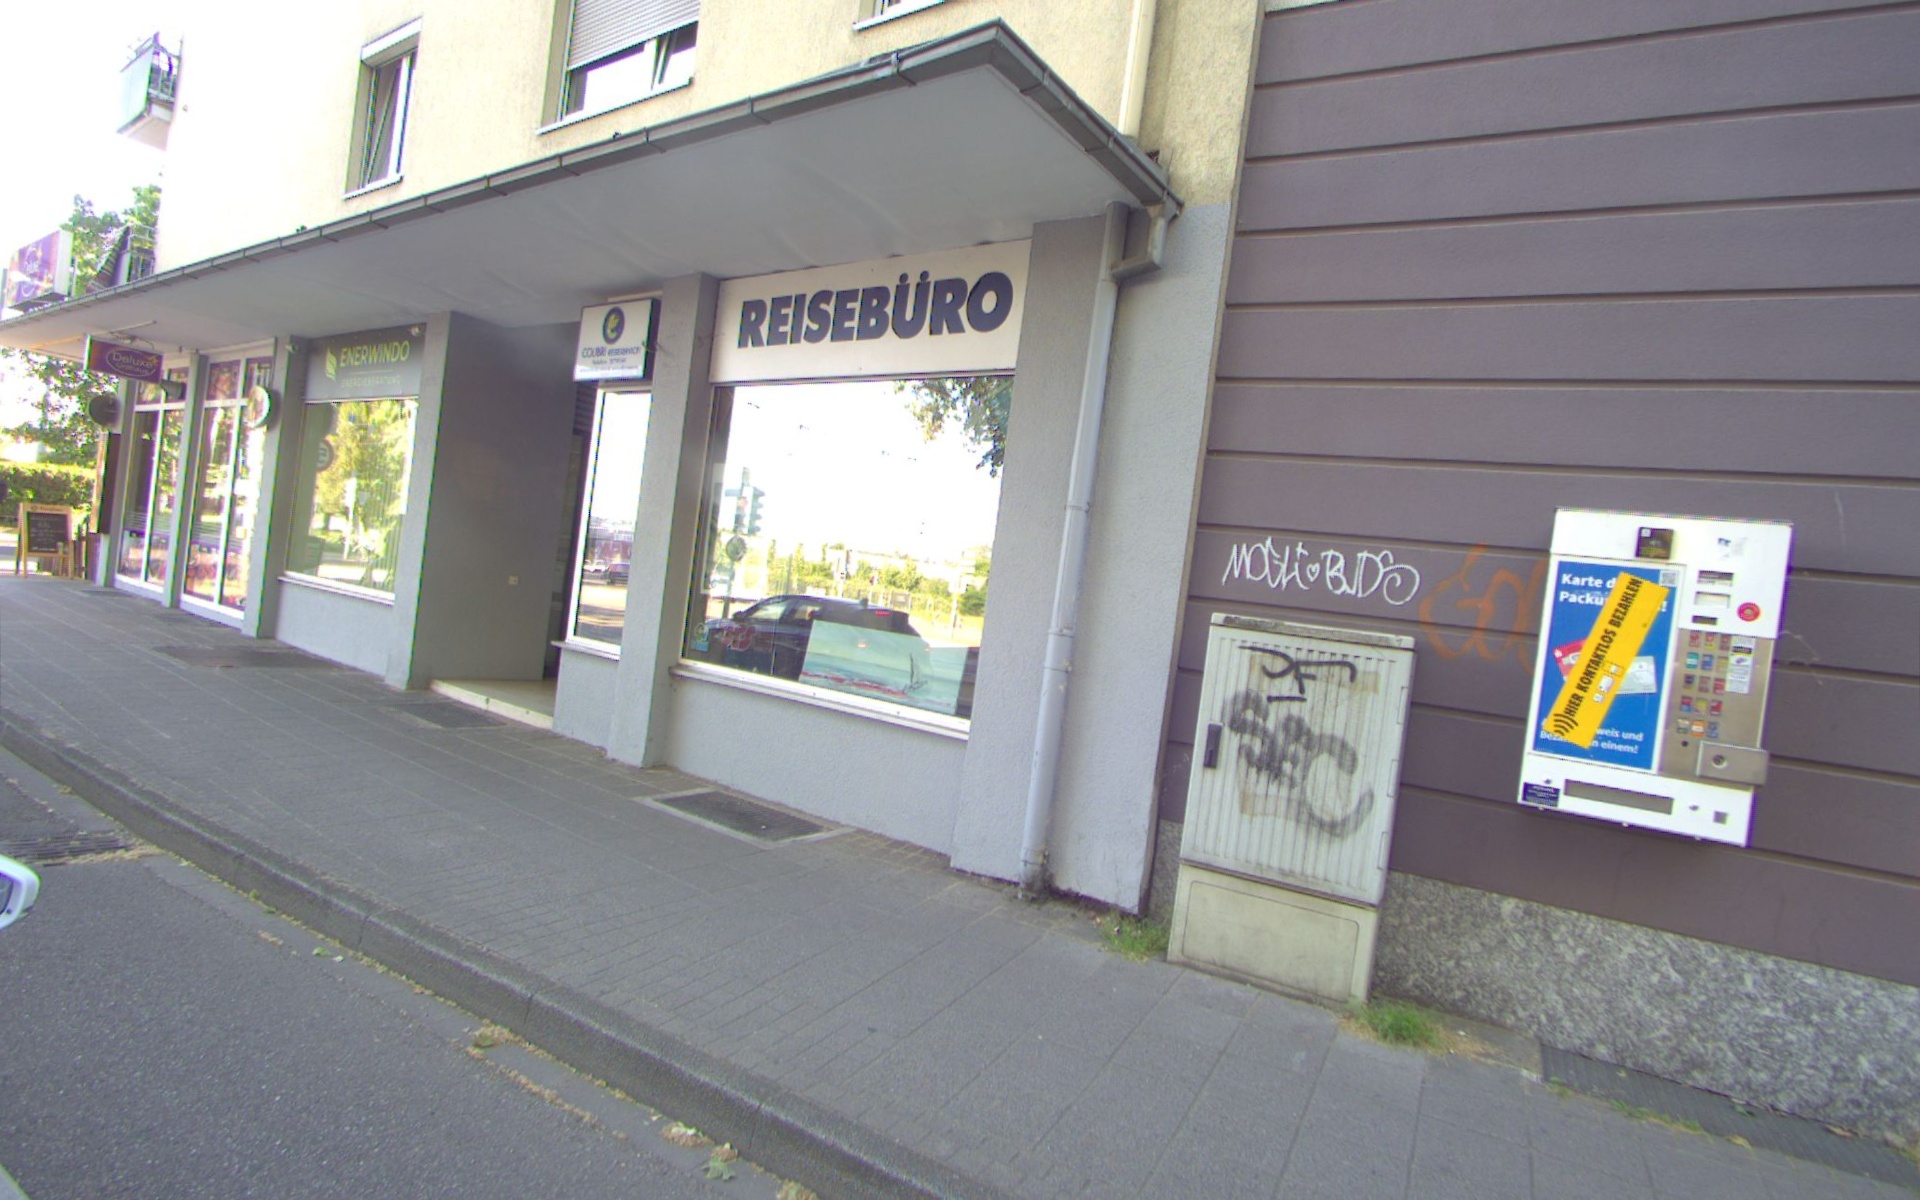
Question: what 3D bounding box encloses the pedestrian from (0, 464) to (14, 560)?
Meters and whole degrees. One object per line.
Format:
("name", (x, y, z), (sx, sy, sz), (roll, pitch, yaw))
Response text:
("pedestrian", (-18.967, -1.742, 19.530), (0.630, 1.841, 0.738), (8, -1, -38))
